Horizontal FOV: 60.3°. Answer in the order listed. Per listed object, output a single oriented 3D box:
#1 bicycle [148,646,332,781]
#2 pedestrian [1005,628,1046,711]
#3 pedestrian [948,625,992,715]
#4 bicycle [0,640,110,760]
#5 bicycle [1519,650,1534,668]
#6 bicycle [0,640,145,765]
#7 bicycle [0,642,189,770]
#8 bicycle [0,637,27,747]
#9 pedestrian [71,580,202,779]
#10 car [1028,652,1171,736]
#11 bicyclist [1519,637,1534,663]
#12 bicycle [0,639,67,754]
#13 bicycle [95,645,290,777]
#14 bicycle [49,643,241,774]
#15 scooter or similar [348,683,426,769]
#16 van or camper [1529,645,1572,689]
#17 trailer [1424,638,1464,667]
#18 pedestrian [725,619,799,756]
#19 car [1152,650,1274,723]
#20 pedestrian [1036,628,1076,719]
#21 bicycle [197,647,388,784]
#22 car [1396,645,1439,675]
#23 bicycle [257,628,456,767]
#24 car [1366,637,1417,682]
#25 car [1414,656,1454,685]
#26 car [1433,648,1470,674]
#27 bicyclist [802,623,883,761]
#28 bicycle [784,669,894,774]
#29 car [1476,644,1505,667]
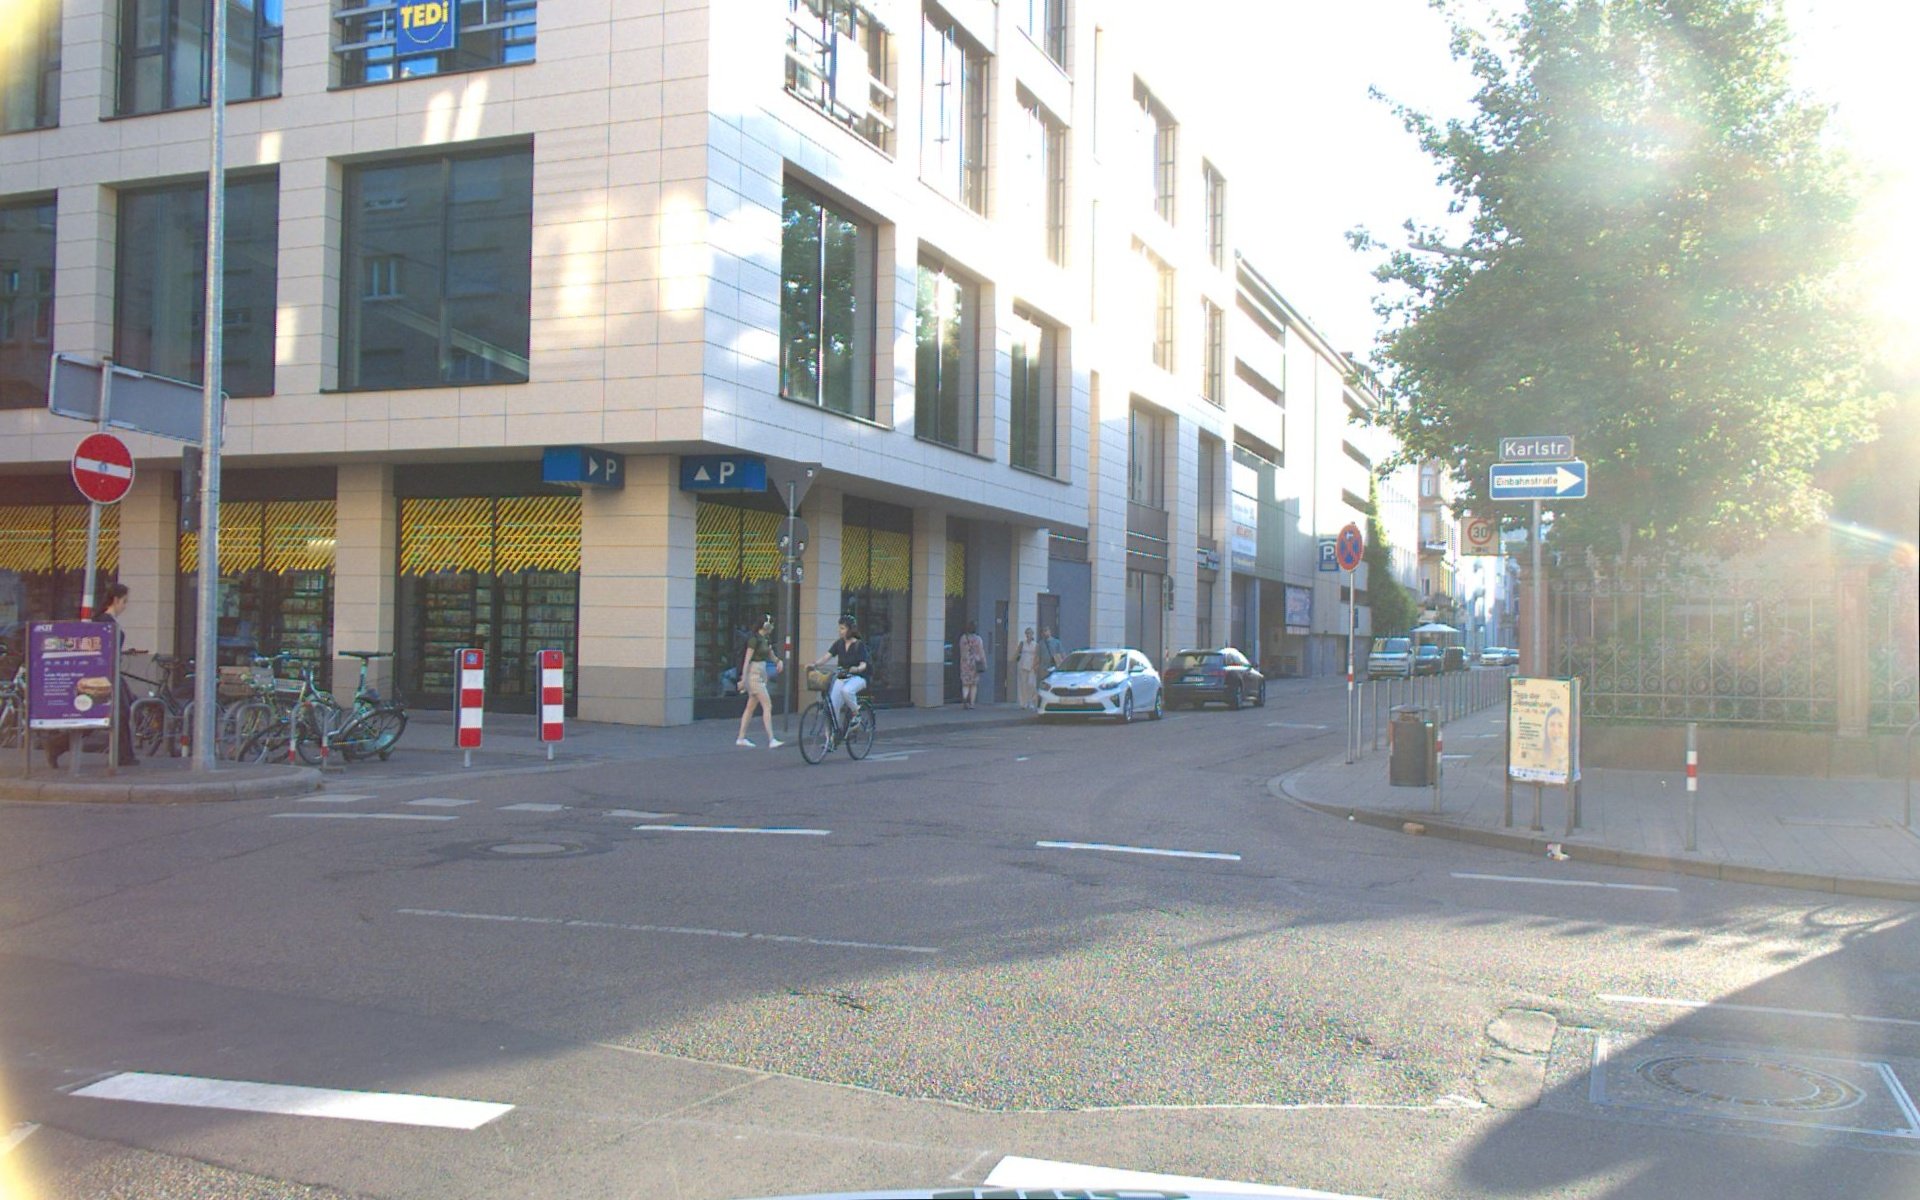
[{"bbox_3d":[-7.309,1.127,16.900,0.501,1.277,1.979,1,-2,18],"label":"bicycle"},{"bbox_3d":[1.378,1.448,34.778,0.658,1.704,0.647,1,-1,19],"label":"pedestrian"},{"bbox_3d":[0.201,1.407,33.247,0.658,1.775,0.647,1,-2,22],"label":"pedestrian"},{"bbox_3d":[-10.368,1.088,18.167,0.501,1.277,1.979,1,-2,20],"label":"bicycle"},{"bbox_3d":[42.517,4.443,124.132,0.955,1.303,2.753,1,-2,22],"label":"bicycle"},{"bbox_3d":[-9.857,1.088,17.937,0.501,1.277,1.979,1,-2,20],"label":"bicycle"},{"bbox_3d":[-9.252,1.112,17.749,0.501,1.277,1.979,1,-2,19],"label":"bicycle"},{"bbox_3d":[-11.678,1.052,18.791,0.501,1.277,1.979,1,-2,20],"label":"bicycle"},{"bbox_3d":[-7.211,0.691,14.508,0.855,1.687,0.616,2,-1,-15],"label":"pedestrian"},{"bbox_3d":[2.829,1.793,32.680,1.741,1.478,4.231,1,-1,20],"label":"car"},{"bbox_3d":[42.530,3.773,124.159,0.970,1.901,0.708,1,-2,24],"label":"bicyclist"},{"bbox_3d":[-11.011,1.073,18.445,0.501,1.277,1.979,1,-2,20],"label":"bicycle"},{"bbox_3d":[-7.886,1.118,17.097,0.501,1.277,1.978,1,-2,22],"label":"bicycle"},{"bbox_3d":[-8.544,1.116,17.446,0.501,1.277,1.979,1,-2,20],"label":"bicycle"},{"bbox_3d":[-6.268,1.369,18.106,0.378,0.899,0.770,1,-2,20],"label":"scooter or similar"},{"bbox_3d":[37.780,4.300,105.761,2.212,2.653,5.110,-4,-4,22],"label":"van or camper"},{"bbox_3d":[28.313,3.093,96.629,1.952,1.584,4.000,1,-2,20],"label":"trailer"},{"bbox_3d":[-2.618,1.136,21.837,0.630,1.753,0.835,2,-2,-34],"label":"pedestrian"},{"bbox_3d":[6.344,2.087,41.032,1.845,1.626,4.687,1,-1,24],"label":"car"},{"bbox_3d":[2.007,1.524,34.549,0.658,1.869,0.647,1,-1,19],"label":"pedestrian"},{"bbox_3d":[-6.704,1.133,16.738,0.568,1.277,2.045,1,-2,18],"label":"bicycle"},{"bbox_3d":[24.258,3.160,87.562,1.844,1.478,4.000,1,-1,20],"label":"car"},{"bbox_3d":[-5.975,0.947,16.539,0.650,1.277,2.141,1,-2,18],"label":"bicycle"},{"bbox_3d":[20.089,2.734,76.870,1.844,1.945,4.748,1,-1,20],"label":"car"},{"bbox_3d":[26.635,3.950,92.890,1.844,1.478,4.000,1,-1,20],"label":"car"},{"bbox_3d":[29.846,3.711,100.387,1.844,1.478,4.000,1,-1,20],"label":"car"},{"bbox_3d":[-1.404,1.091,19.839,0.644,1.598,0.863,1,-2,18],"label":"bicyclist"},{"bbox_3d":[-1.418,1.421,19.786,0.650,1.158,1.822,1,-2,18],"label":"bicycle"},{"bbox_3d":[42.306,4.437,131.898,1.953,1.713,3.999,1,-2,22],"label":"car"}]
